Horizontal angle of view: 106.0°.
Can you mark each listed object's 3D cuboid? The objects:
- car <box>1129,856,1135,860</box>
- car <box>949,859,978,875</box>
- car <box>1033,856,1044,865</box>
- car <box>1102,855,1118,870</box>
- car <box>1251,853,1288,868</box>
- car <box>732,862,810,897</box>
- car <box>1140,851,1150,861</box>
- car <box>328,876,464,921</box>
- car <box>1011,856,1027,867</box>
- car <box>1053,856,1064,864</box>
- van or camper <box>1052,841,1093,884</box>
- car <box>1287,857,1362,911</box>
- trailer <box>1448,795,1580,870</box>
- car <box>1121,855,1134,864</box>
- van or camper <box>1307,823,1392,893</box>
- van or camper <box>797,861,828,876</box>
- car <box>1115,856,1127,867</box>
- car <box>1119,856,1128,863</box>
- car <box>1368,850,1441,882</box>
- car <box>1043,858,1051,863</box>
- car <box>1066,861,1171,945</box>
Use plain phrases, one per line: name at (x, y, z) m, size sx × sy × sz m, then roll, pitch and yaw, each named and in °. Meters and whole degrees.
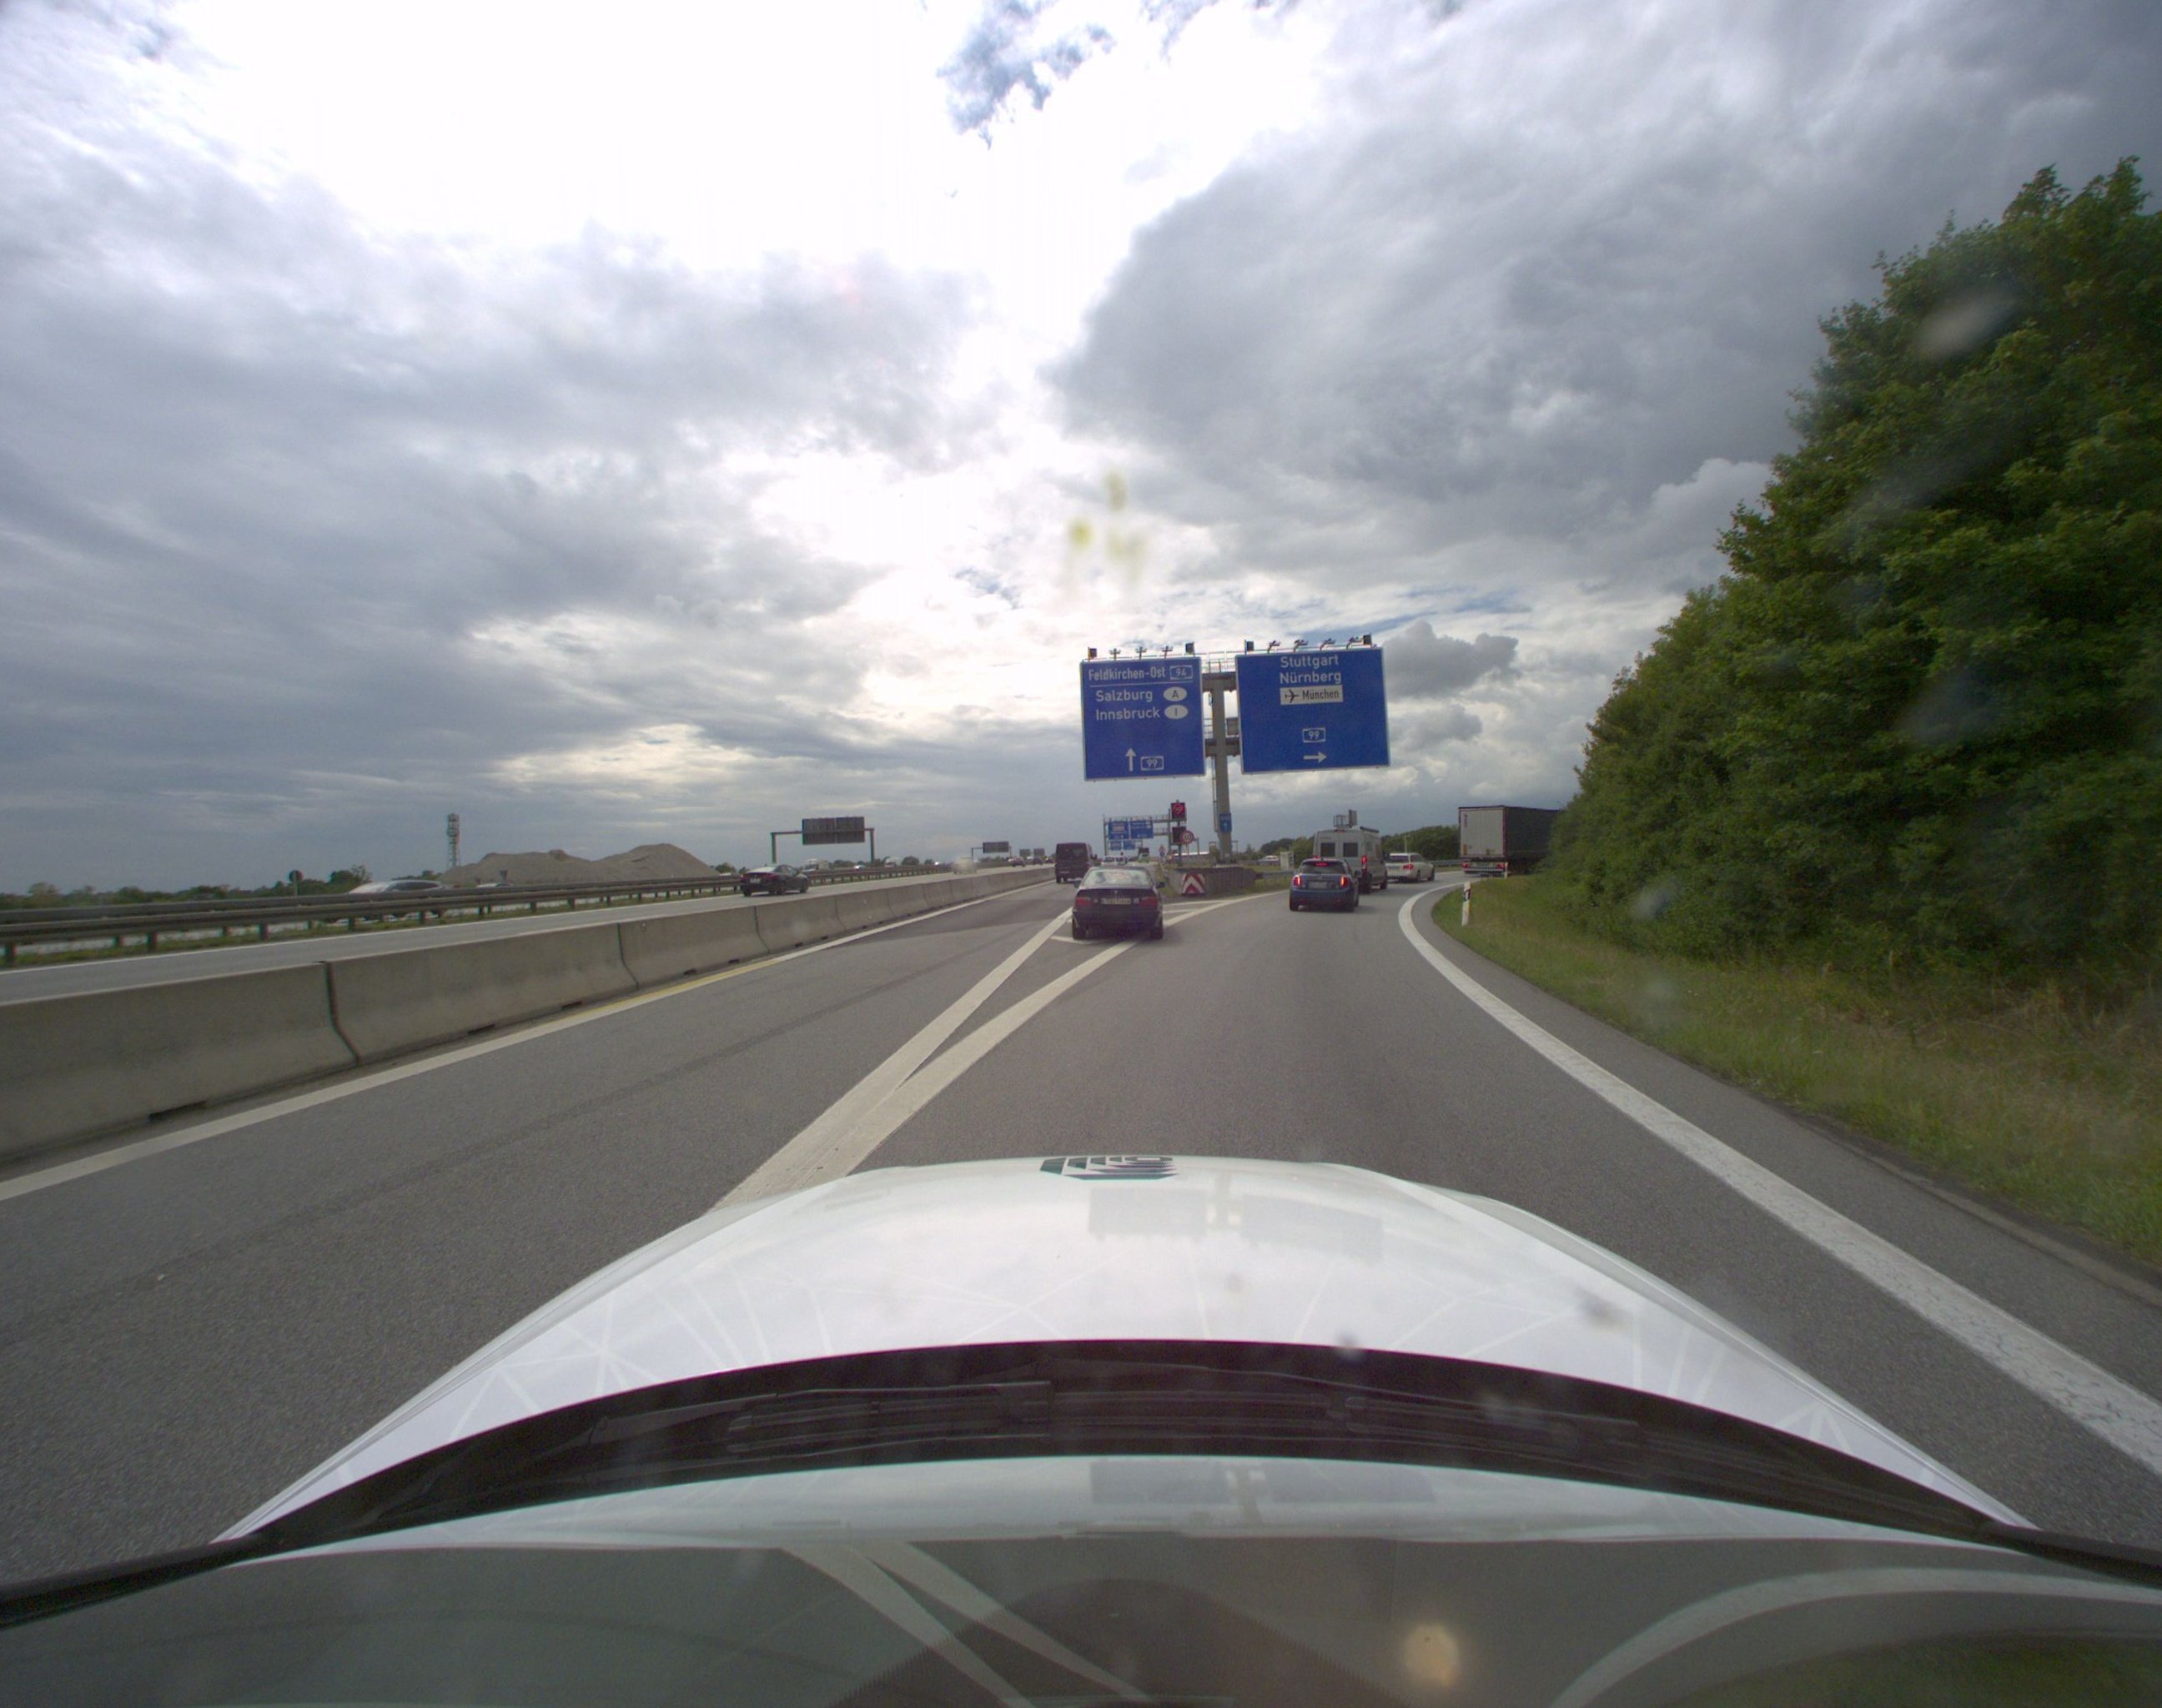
car at (16.036, 1.289, 256.311) m, size 1.794 × 1.424 × 4.005 m, roll -2°, pitch 0°, yaw 5°
car at (-11.690, 1.289, 81.373) m, size 2.051 × 1.527 × 4.570 m, roll -1°, pitch 0°, yaw 2°
car at (-8.562, 1.337, 163.883) m, size 1.893 × 1.638 × 4.236 m, roll -1°, pitch 0°, yaw 3°
car at (3.233, 0.928, 89.981) m, size 1.694 × 1.508 × 3.842 m, roll -1°, pitch 0°, yaw 2°
car at (24.245, 0.852, 104.799) m, size 2.010 × 1.772 × 4.197 m, roll -1°, pitch 0°, yaw -39°
car at (-14.178, 1.133, 37.557) m, size 1.765 × 1.450 × 4.386 m, roll -1°, pitch 0°, yaw 2°
car at (13.547, 0.466, 173.100) m, size 1.986 × 2.013 × 4.002 m, roll -1°, pitch 0°, yaw 2°
car at (-26.116, 1.658, 31.243) m, size 1.680 × 1.484 × 4.007 m, roll -1°, pitch 0°, yaw 2°
car at (-9.934, 1.213, 131.200) m, size 1.893 × 1.640 × 4.648 m, roll -1°, pitch 0°, yaw 3°
car at (-4.533, 1.287, 163.323) m, size 1.767 × 1.530 × 4.003 m, roll -2°, pitch 0°, yaw 3°
van or camper at (-0.412, 0.467, 48.654) m, size 1.991 × 2.370 × 6.131 m, roll -1°, pitch 0°, yaw 3°
car at (7.055, 0.803, 23.380) m, size 1.714 × 1.419 × 3.685 m, roll -1°, pitch -1°, yaw 22°
trailer at (27.251, -1.231, 50.754) m, size 13.107 × 4.193 × 3.300 m, roll -1°, pitch 0°, yaw -44°
car at (8.100, 1.007, 140.891) m, size 1.983 × 1.468 × 4.007 m, roll -2°, pitch 0°, yaw 7°
van or camper at (11.107, 0.152, 33.366) m, size 2.272 × 2.568 × 6.198 m, roll -2°, pitch 0°, yaw 27°
van or camper at (-37.436, 1.966, 113.903) m, size 2.228 × 2.013 × 6.277 m, roll -1°, pitch 0°, yaw 0°
car at (5.607, 0.984, 115.006) m, size 1.578 × 1.484 × 3.538 m, roll -2°, pitch 0°, yaw 4°
car at (9.412, 1.192, 179.660) m, size 1.858 × 1.424 × 4.004 m, roll -2°, pitch 0°, yaw 4°
car at (16.559, 0.571, 41.592) m, size 2.184 × 1.501 × 4.818 m, roll -2°, pitch -1°, yaw 37°
car at (-8.319, 1.584, 197.471) m, size 1.546 × 1.376 × 4.002 m, roll -1°, pitch 0°, yaw 2°
car at (0.790, 0.869, 16.141) m, size 1.774 × 1.378 × 4.141 m, roll -2°, pitch 0°, yaw 4°
